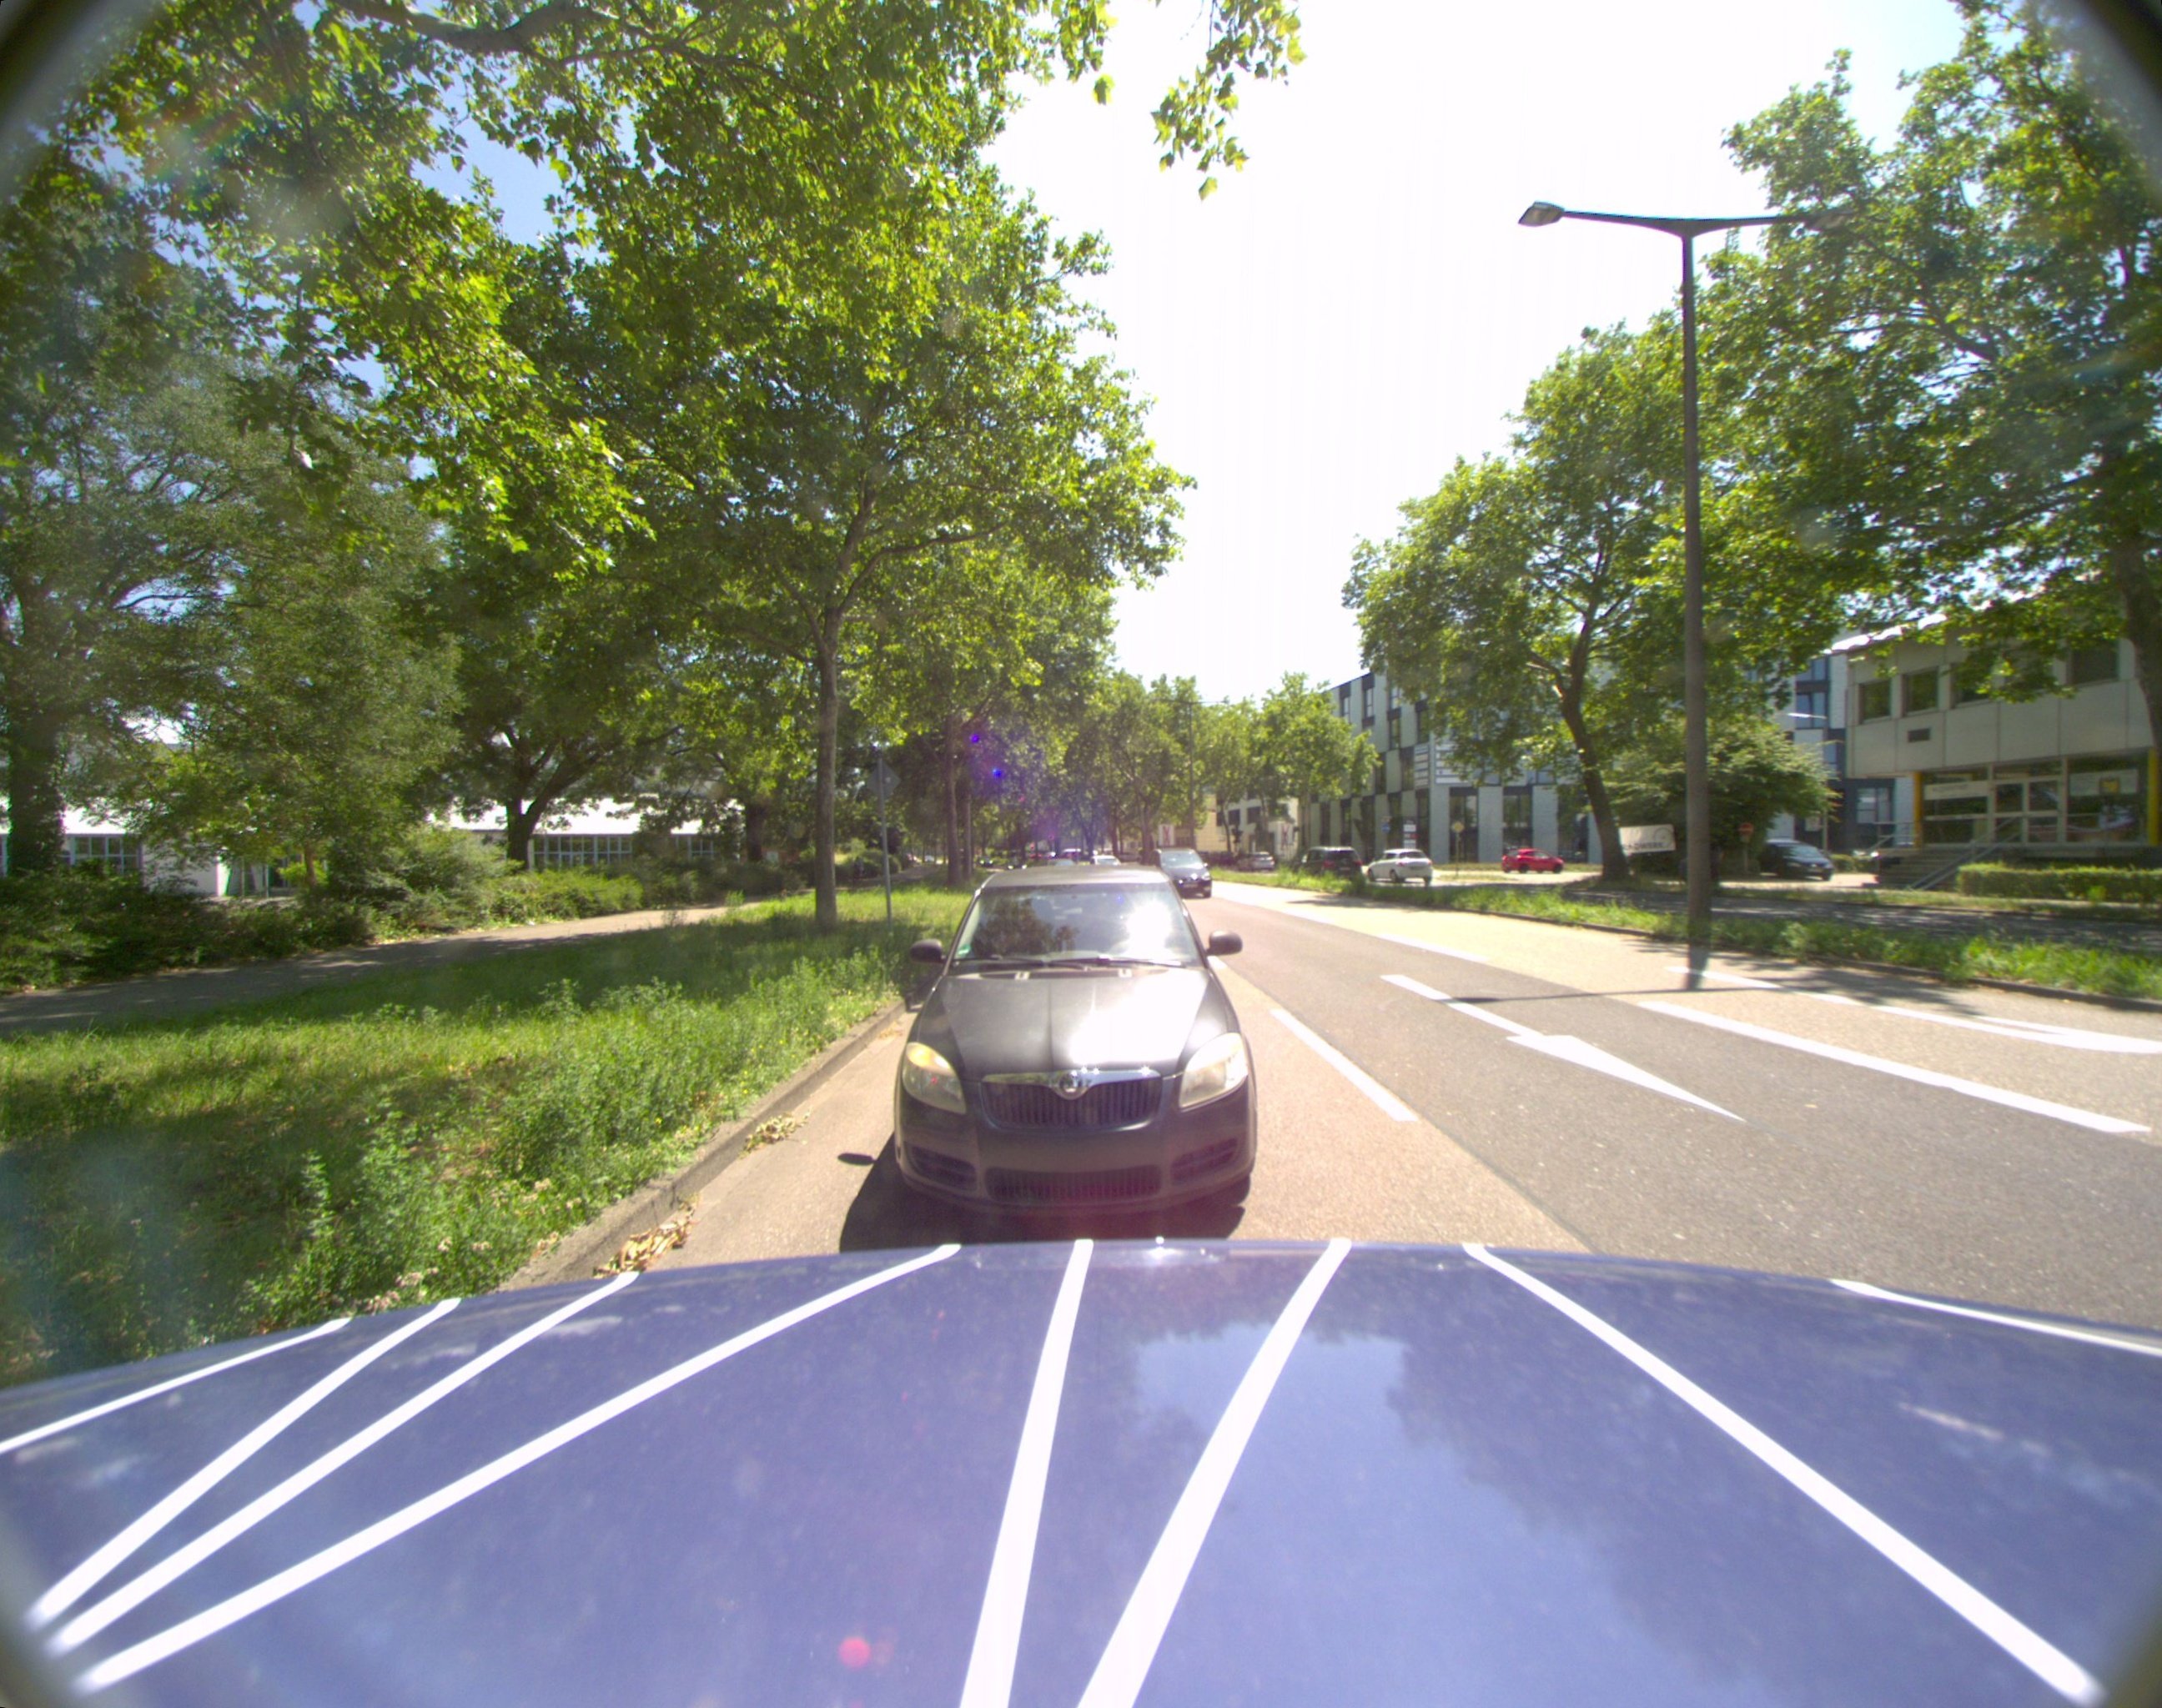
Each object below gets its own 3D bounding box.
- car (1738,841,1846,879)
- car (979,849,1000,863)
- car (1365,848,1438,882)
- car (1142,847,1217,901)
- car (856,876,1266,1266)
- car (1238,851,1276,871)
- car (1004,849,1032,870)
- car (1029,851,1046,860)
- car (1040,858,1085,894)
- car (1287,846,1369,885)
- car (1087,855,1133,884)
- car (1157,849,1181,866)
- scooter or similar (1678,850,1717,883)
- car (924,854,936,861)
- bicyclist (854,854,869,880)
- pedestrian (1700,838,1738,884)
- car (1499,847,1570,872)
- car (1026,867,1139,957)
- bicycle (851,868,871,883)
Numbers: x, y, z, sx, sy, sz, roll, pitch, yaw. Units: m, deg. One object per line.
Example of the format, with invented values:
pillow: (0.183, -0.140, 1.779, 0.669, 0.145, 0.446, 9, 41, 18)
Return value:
car: (32.821, 0.242, 35.197, 1.819, 1.638, 3.528, -2, 1, 4)
car: (-11.929, 0.280, 98.951, 2.001, 1.783, 3.994, -1, 0, -17)
car: (14.673, 0.463, 34.996, 1.736, 1.450, 3.673, -1, 0, -2)
car: (3.408, 0.644, 27.101, 1.859, 1.745, 4.647, -1, 0, -2)
car: (-0.056, 0.950, 5.053, 1.654, 1.453, 3.865, -1, 0, 1)
car: (12.769, 0.477, 55.193, 1.756, 1.435, 3.671, -1, 0, -2)
car: (-5.889, 0.499, 70.298, 2.001, 1.871, 3.995, -1, 0, -13)
car: (-7.787, 0.224, 134.670, 1.956, 1.600, 3.993, -1, 0, -19)
car: (-0.769, 0.956, 34.548, 1.878, 1.448, 3.786, -2, 0, 1)
car: (11.125, 0.489, 34.567, 1.955, 1.646, 4.618, -1, 0, -4)
car: (1.542, 0.804, 41.341, 1.624, 1.437, 3.647, -1, 0, -13)
car: (7.980, 0.287, 68.800, 1.537, 1.519, 2.852, -1, 0, -6)
scooter or similar: (21.759, 0.428, 26.834, 0.680, 1.157, 0.859, -1, 1, -4)
car: (-29.092, 0.626, 145.987, 1.511, 1.379, 3.421, -1, 0, -23)
bicyclist: (-11.571, 0.669, 40.052, 0.600, 1.331, 0.666, -1, 1, 2)
pedestrian: (21.818, 0.233, 25.992, 0.643, 1.551, 0.791, -1, 1, -4)
car: (28.004, 0.346, 46.979, 3.530, 1.453, 1.676, -1, 0, -7)
car: (0.045, 0.972, 14.146, 1.791, 1.325, 3.742, -2, 0, 1)
bicycle: (-11.581, 1.120, 39.991, 0.465, 0.760, 1.668, -1, 0, 3)
